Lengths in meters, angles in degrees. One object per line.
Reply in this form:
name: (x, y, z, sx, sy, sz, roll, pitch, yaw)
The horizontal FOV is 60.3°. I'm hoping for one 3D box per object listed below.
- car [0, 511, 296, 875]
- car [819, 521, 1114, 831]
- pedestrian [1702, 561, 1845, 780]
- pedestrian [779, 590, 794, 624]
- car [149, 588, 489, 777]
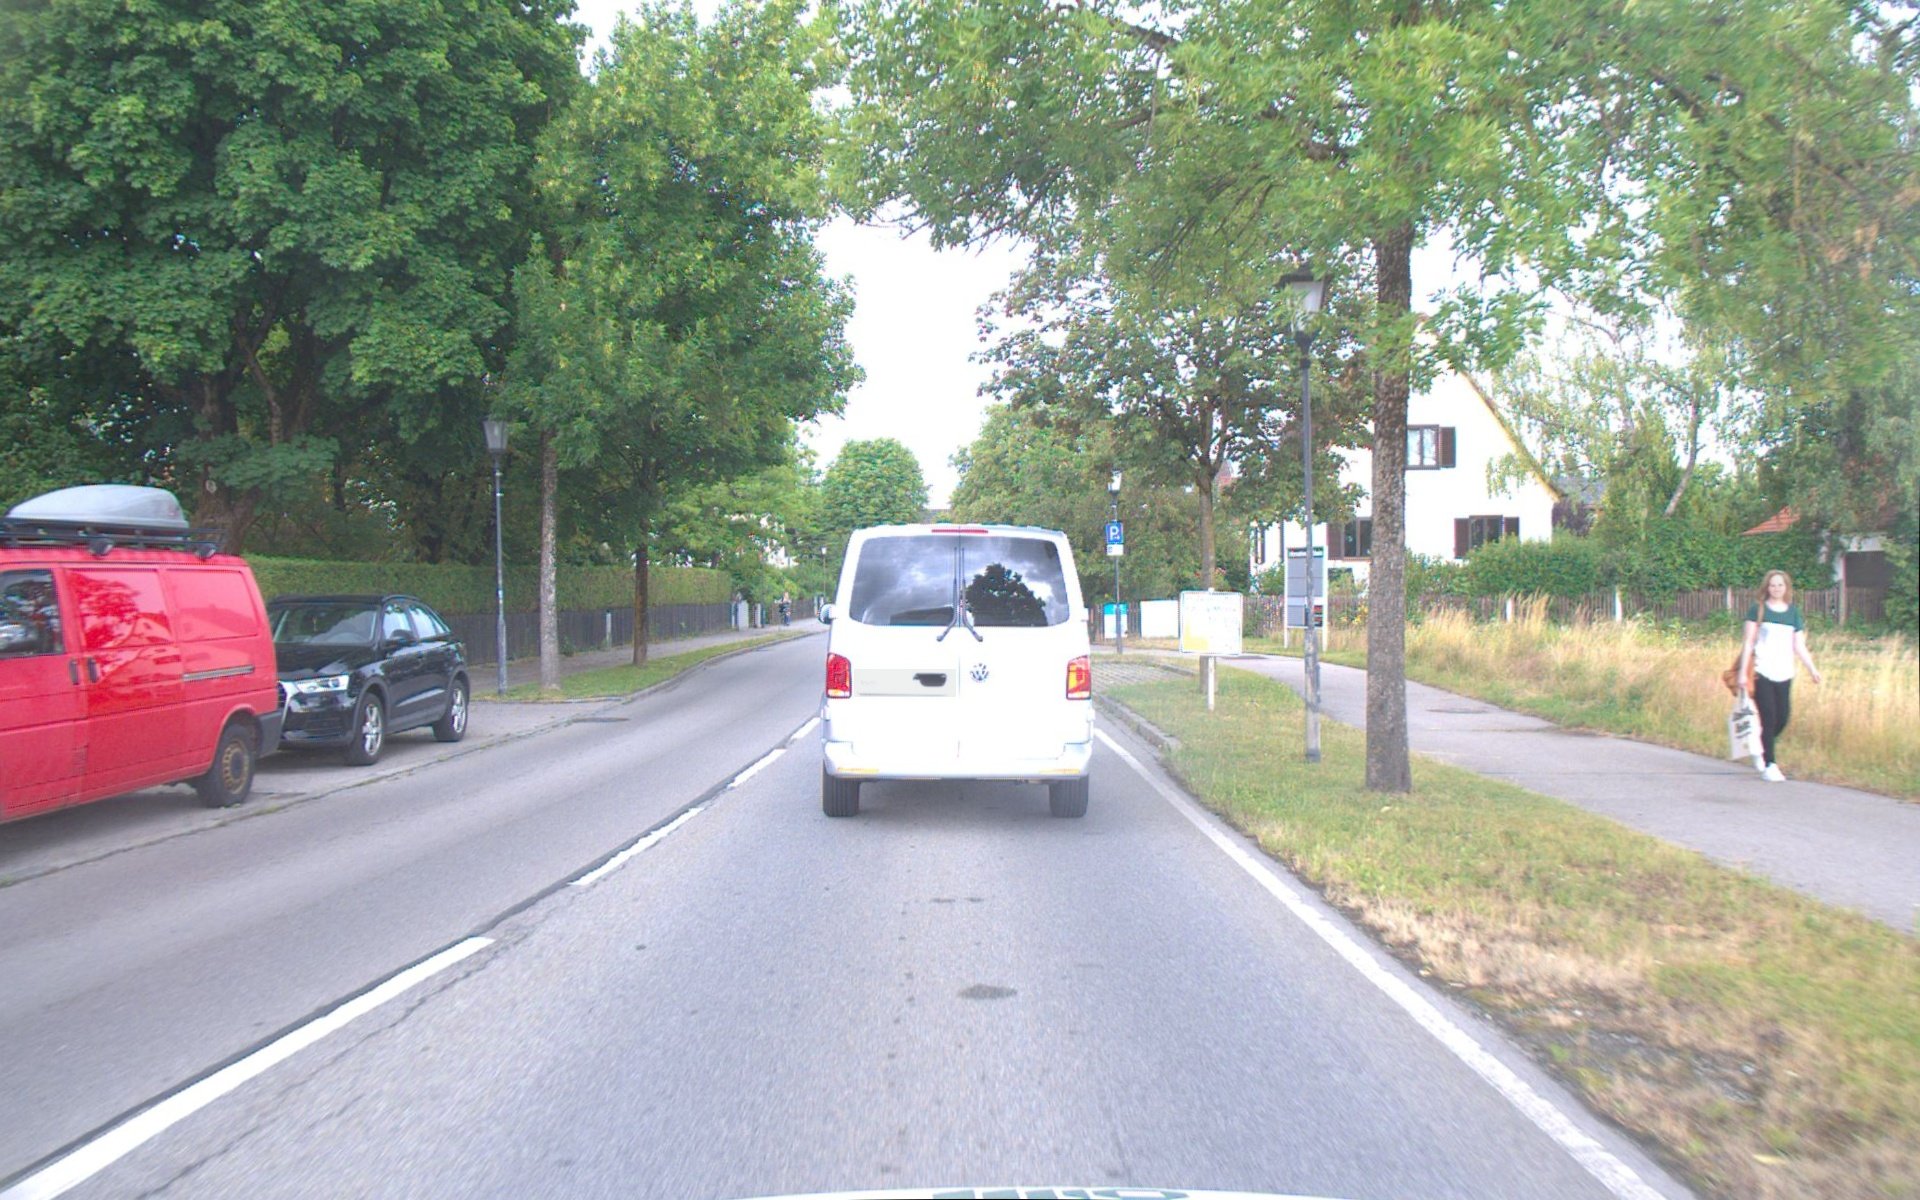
car: (-6.304, 0.499, 10.795, 1.792, 2.066, 5.047, 1, 1, 1)
car: (0.039, 0.480, 12.431, 1.849, 1.945, 4.000, 0, 0, 0)
pedestrian: (6.842, 0.572, 13.948, 0.820, 1.785, 0.870, 0, 0, 5)
pedestrian: (-8.165, 0.343, 77.828, 0.610, 1.576, 0.522, 1, 0, -4)
car: (-6.254, 0.707, 16.685, 1.735, 1.626, 4.238, 0, 1, 0)
